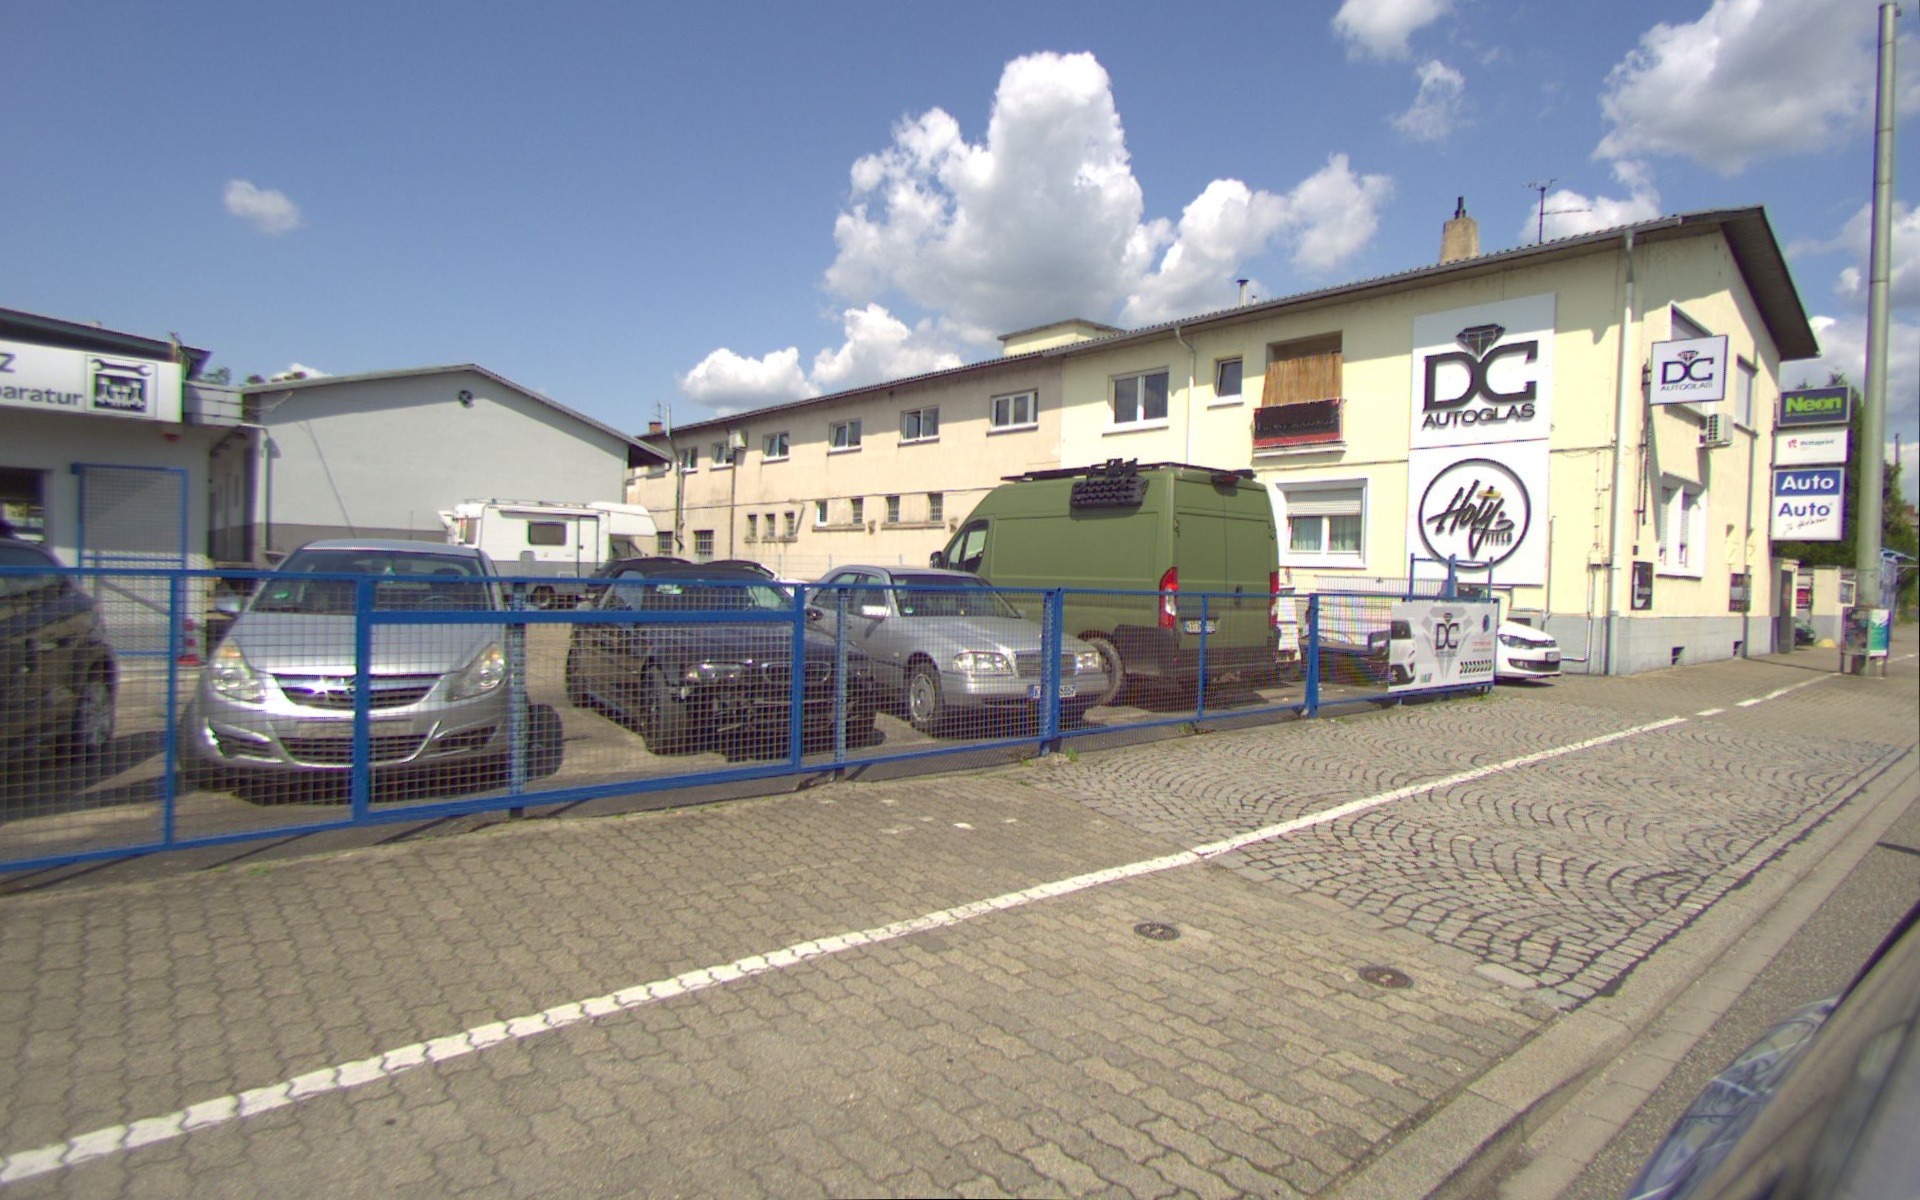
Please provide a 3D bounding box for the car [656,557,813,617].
[{"bbox_3d":[-5.125,-0.292,23.166,3.219,1.278,1.452,-1,0,-40],"label":"car"}]

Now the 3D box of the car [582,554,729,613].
[{"bbox_3d":[-7.658,-0.415,25.568,3.268,1.396,1.425,-1,0,-40],"label":"car"}]

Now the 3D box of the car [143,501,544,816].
[{"bbox_3d":[-4.005,0.262,7.216,1.789,1.524,4.271,0,0,-24],"label":"car"}]

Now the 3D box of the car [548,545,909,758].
[{"bbox_3d":[-2.263,0.292,8.883,1.707,1.391,4.265,0,1,-34],"label":"car"}]

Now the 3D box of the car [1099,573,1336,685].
[{"bbox_3d":[3.550,0.324,14.301,1.309,1.290,3.034,0,4,-39],"label":"car"}]

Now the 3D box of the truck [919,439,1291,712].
[{"bbox_3d":[1.585,-0.261,12.277,2.071,2.694,4.180,0,0,-39],"label":"truck"}]

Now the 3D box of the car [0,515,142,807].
[{"bbox_3d":[-5.671,0.308,4.975,1.592,1.480,3.918,0,2,-24],"label":"car"}]

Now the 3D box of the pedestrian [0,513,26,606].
[{"bbox_3d":[-13.788,-0.568,14.433,0.688,1.318,0.634,0,0,-44],"label":"pedestrian"}]

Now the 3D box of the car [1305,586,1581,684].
[{"bbox_3d":[7.571,0.470,16.154,1.490,1.375,3.727,0,0,-37],"label":"car"}]

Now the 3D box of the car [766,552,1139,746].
[{"bbox_3d":[-0.319,0.364,10.262,1.792,1.527,4.265,0,0,-33],"label":"car"}]

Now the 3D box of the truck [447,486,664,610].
[{"bbox_3d":[-10.874,-1.361,27.413,5.000,3.046,2.157,0,3,-42],"label":"truck"}]
